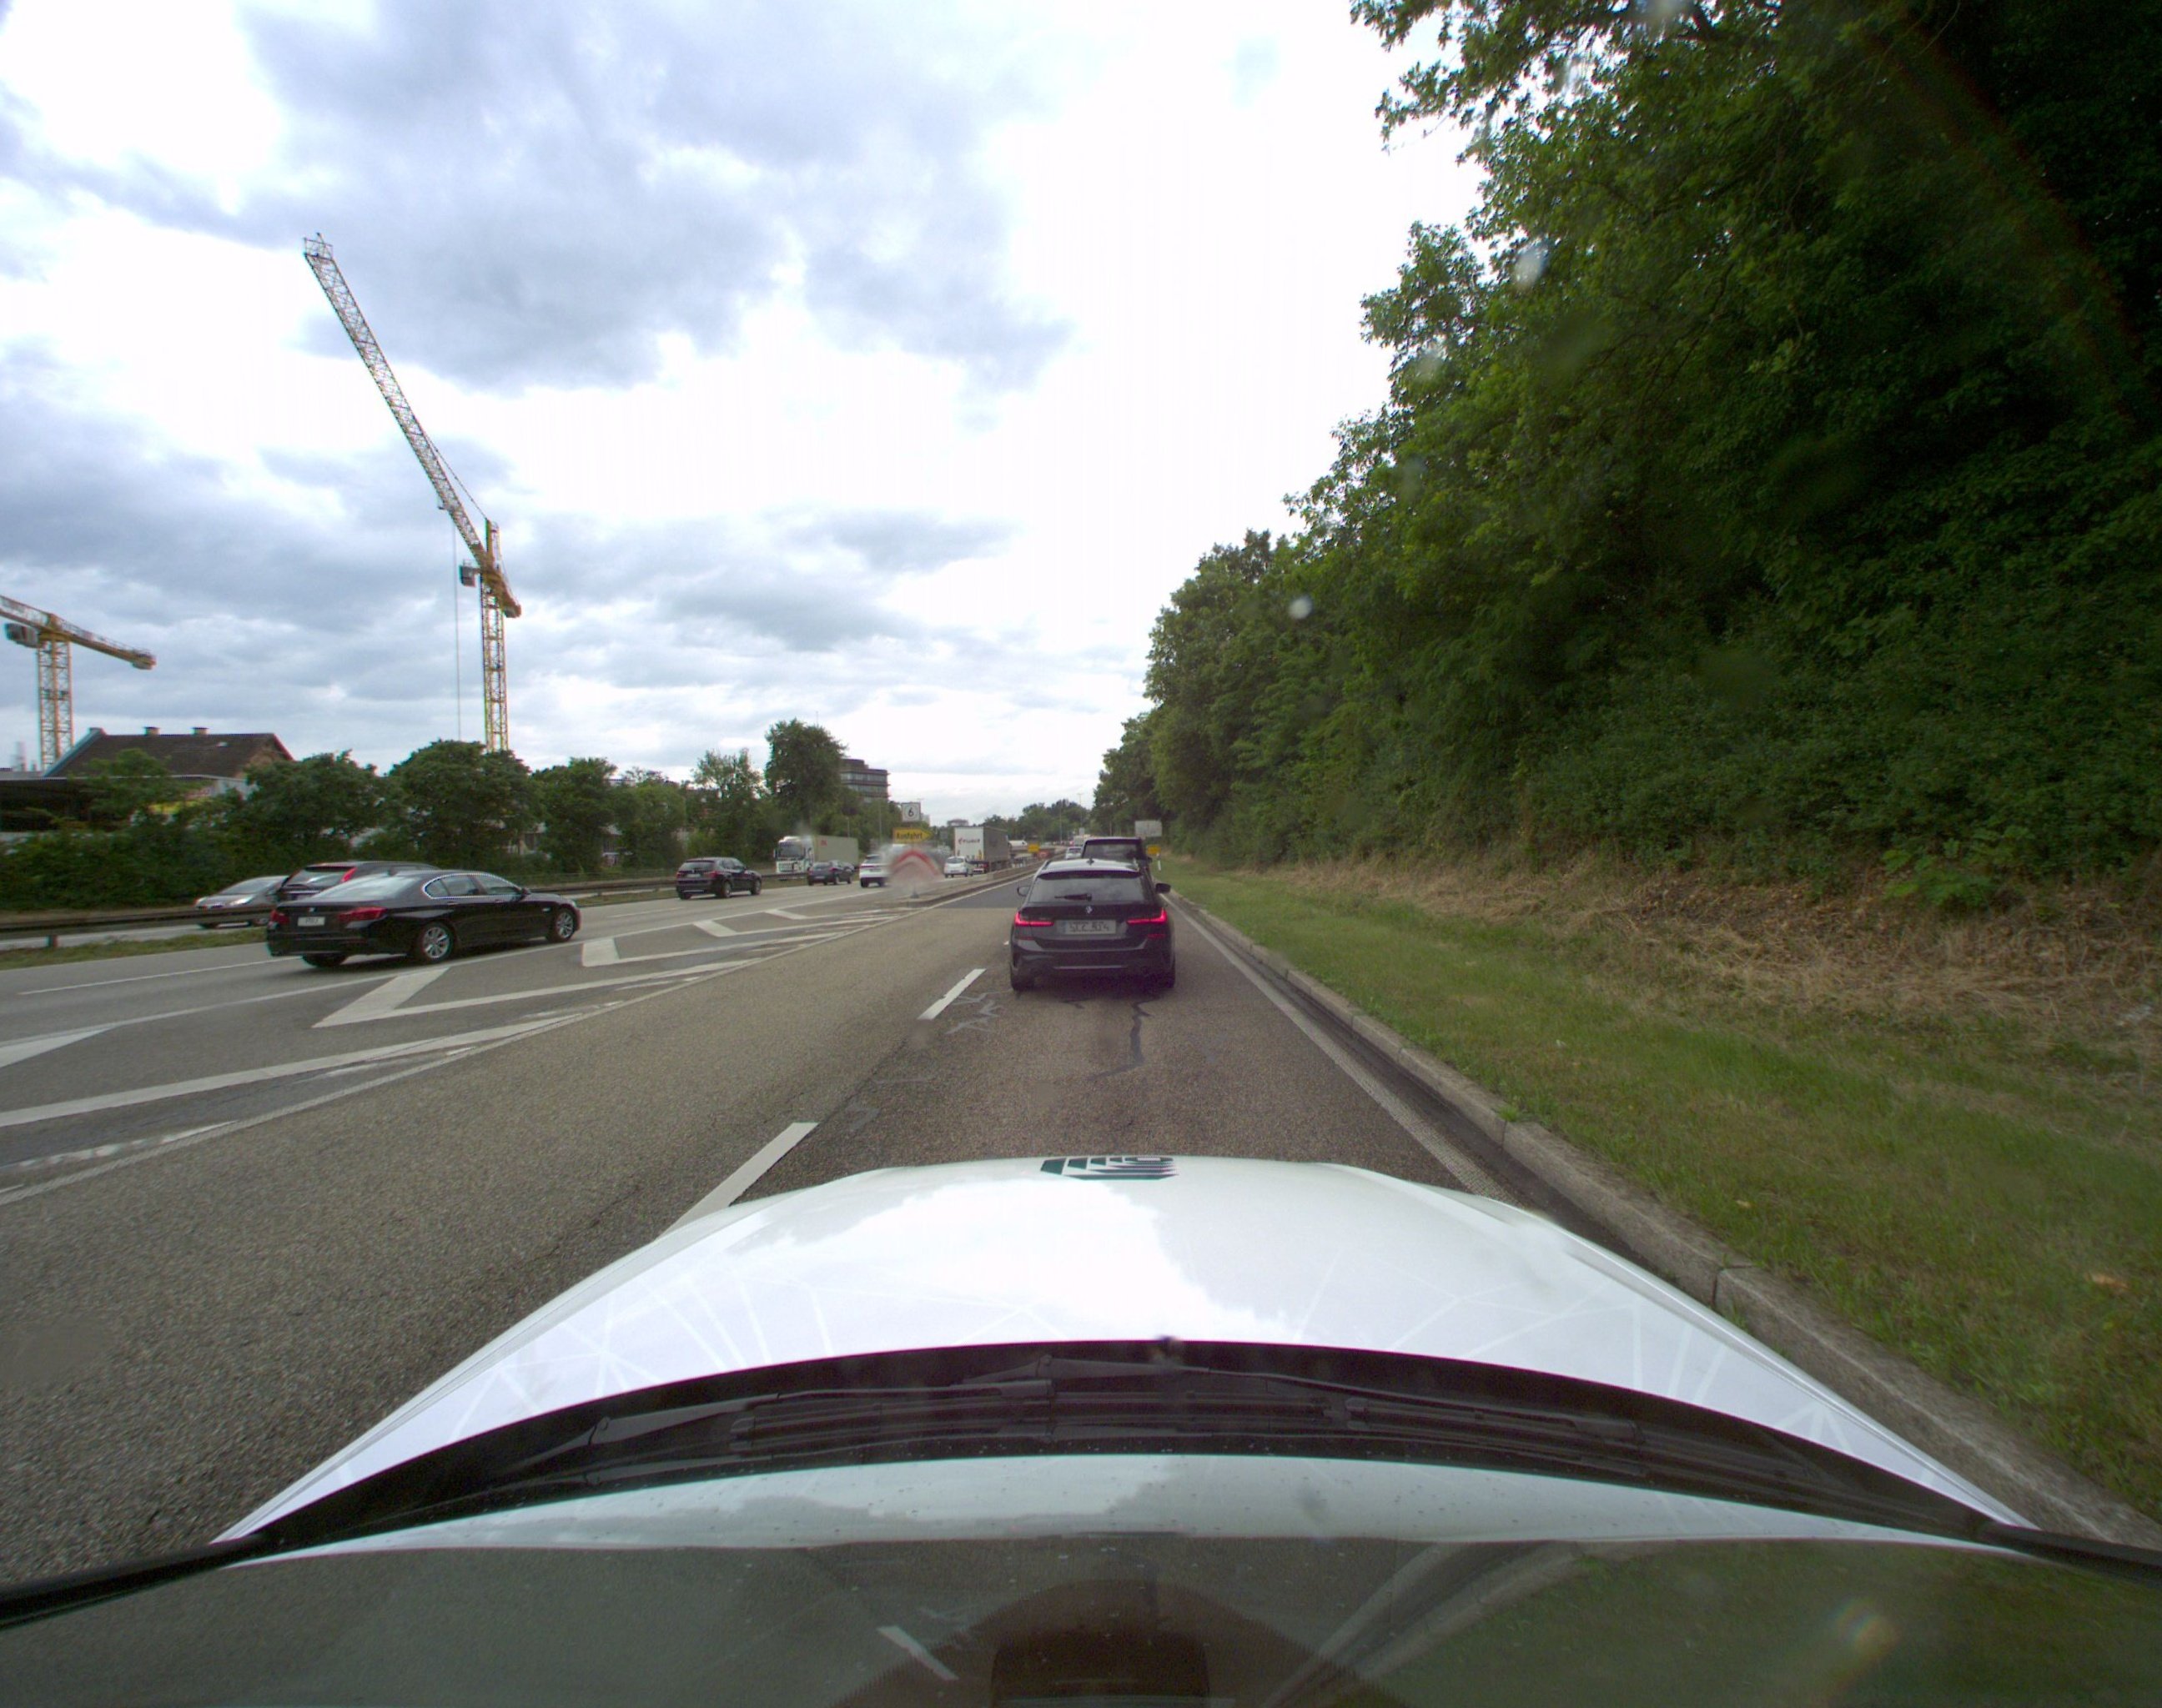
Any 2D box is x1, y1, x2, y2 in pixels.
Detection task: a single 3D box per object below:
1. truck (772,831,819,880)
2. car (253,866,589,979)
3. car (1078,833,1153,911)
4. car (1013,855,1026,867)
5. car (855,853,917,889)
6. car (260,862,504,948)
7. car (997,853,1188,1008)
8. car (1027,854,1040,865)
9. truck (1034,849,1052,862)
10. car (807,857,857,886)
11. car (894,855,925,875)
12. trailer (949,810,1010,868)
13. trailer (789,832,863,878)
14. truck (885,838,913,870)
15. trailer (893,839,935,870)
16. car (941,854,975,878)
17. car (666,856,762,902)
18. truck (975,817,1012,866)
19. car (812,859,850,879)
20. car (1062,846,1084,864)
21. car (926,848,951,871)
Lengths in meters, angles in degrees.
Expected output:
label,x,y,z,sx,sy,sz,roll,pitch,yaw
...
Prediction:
label,x,y,z,sx,sy,sz,roll,pitch,yaw
truck,-24.818,0.124,70.981,2.396,4.020,4.002,-2,0,2
car,-10.722,1.005,13.822,1.705,1.456,4.670,-1,0,3
car,0.926,0.425,21.980,1.789,1.872,4.002,-1,0,2
car,-8.219,0.920,108.810,1.372,1.398,3.064,-2,0,3
car,-10.037,0.856,42.334,1.939,1.692,4.509,-2,0,2
car,-15.672,1.052,18.627,1.745,1.635,4.269,-1,0,2
car,0.139,0.748,10.008,1.840,1.466,4.000,-1,0,1
car,-6.922,0.802,119.211,1.442,1.490,3.064,-2,0,3
truck,-8.178,0.286,177.663,3.262,2.509,7.664,-2,0,2
car,-14.762,0.996,48.436,1.681,1.608,4.009,0,0,1
car,-14.162,0.895,67.294,1.681,1.632,3.735,0,0,1
trailer,-8.962,-1.227,73.898,3.120,4.725,14.565,-1,0,2
trailer,-24.473,0.083,79.086,2.388,4.029,13.085,-2,0,2
truck,-23.584,0.040,105.684,2.586,3.990,4.002,-2,0,2
trailer,-23.307,0.014,114.461,2.584,3.982,13.789,-2,0,2
car,-8.778,0.823,58.341,1.762,1.549,3.493,-2,0,1
car,-15.005,0.972,33.587,1.884,1.681,4.307,-2,0,1
truck,-8.702,-1.232,81.437,3.072,4.697,4.234,-1,0,2
car,-19.879,1.145,64.932,1.681,1.464,3.764,-2,0,2
car,-0.748,0.091,80.791,1.922,1.596,3.880,-2,0,3
car,-13.625,0.516,78.043,1.437,2.044,3.683,-2,0,3
